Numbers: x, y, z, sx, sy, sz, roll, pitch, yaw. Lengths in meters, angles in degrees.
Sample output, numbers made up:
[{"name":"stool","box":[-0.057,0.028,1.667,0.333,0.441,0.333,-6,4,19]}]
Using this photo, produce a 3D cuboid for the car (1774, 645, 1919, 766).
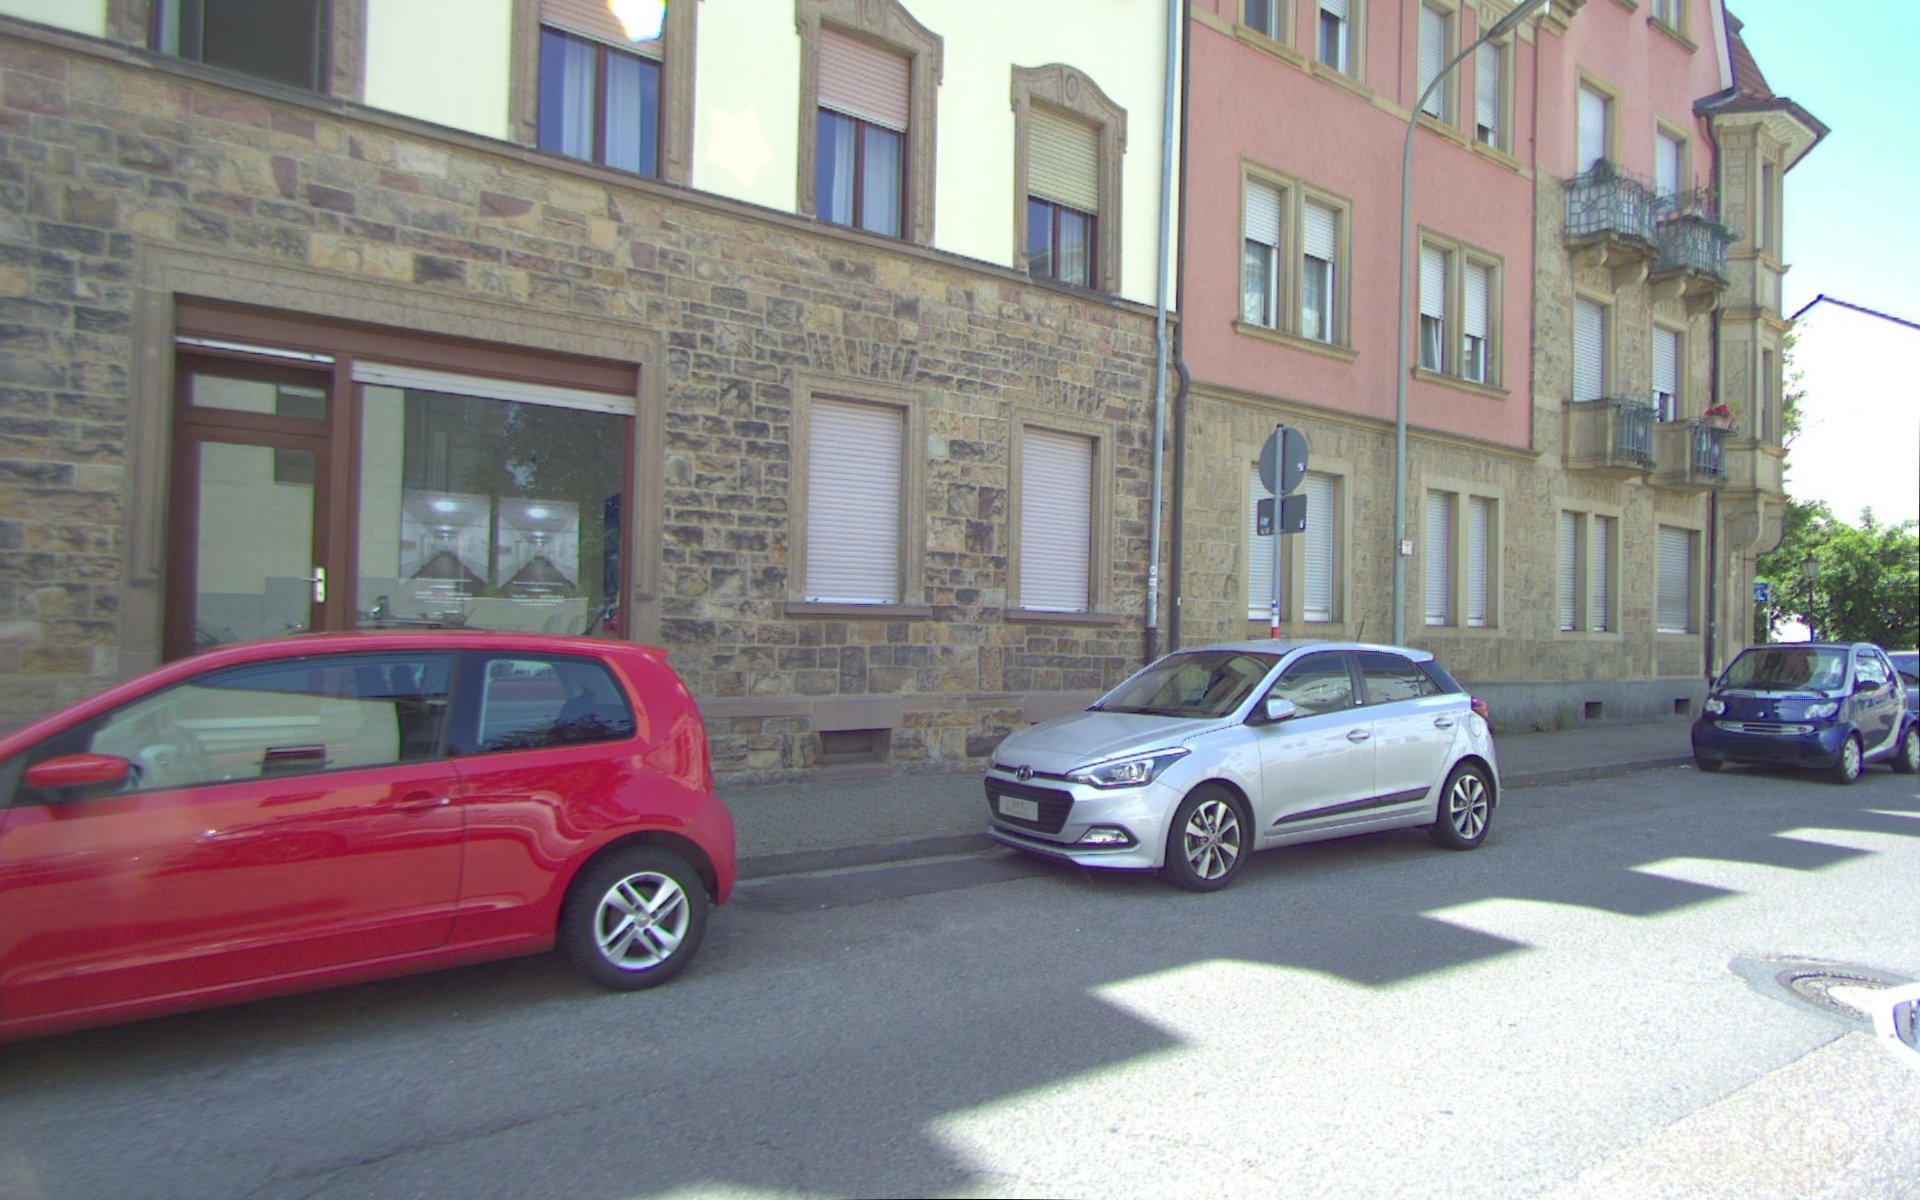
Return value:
[{"name":"car","box":[13.540,1.418,14.148,4.582,1.477,1.774,2,-3,-31]}]

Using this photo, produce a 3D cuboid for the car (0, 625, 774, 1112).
[{"name":"car","box":[-2.689,0.853,4.120,3.458,1.461,1.589,2,-3,-33]}]

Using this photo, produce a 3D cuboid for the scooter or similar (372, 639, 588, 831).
[{"name":"scooter or similar","box":[-3.320,0.895,6.995,1.305,1.236,0.373,2,-2,-32]}]

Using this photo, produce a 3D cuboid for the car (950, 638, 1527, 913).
[{"name":"car","box":[2.039,1.018,7.062,3.972,1.450,1.627,2,-3,-31]}]

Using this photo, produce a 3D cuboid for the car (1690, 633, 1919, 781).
[{"name":"car","box":[10.063,1.190,11.882,2.666,1.542,1.429,2,-3,-32]}]
